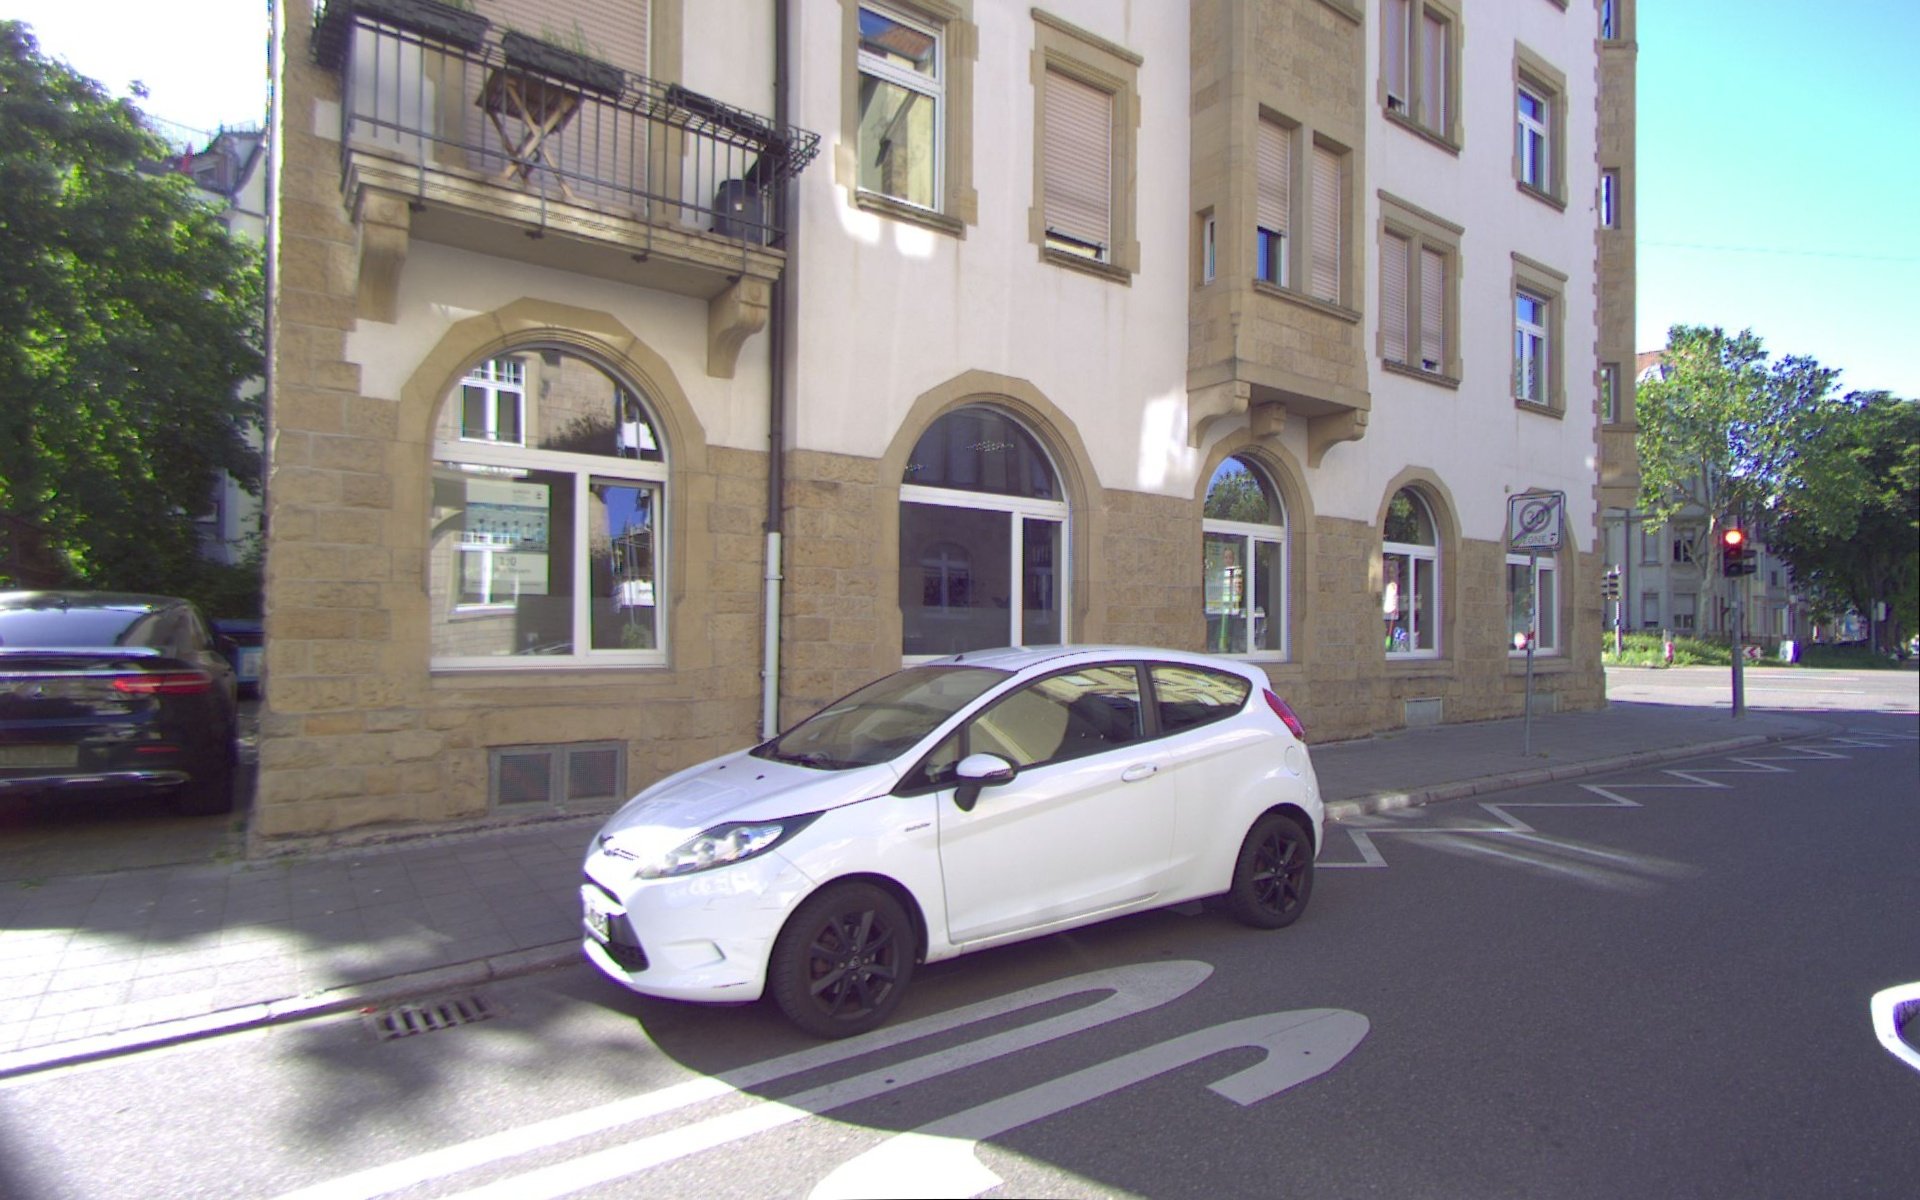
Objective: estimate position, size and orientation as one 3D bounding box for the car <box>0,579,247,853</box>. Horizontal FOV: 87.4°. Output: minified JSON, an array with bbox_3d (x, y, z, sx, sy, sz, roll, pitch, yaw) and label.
[{"bbox_3d":[-7.048,0.795,8.180,1.890,1.750,3.944,1,-2,-34],"label":"car"}]

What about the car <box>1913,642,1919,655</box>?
[{"bbox_3d":[117.042,5.849,121.817,1.972,1.465,3.978,-2,-2,42],"label":"car"}]

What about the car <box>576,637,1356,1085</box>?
[{"bbox_3d":[0.153,0.945,5.101,3.694,1.483,1.625,1,-2,-33],"label":"car"}]
